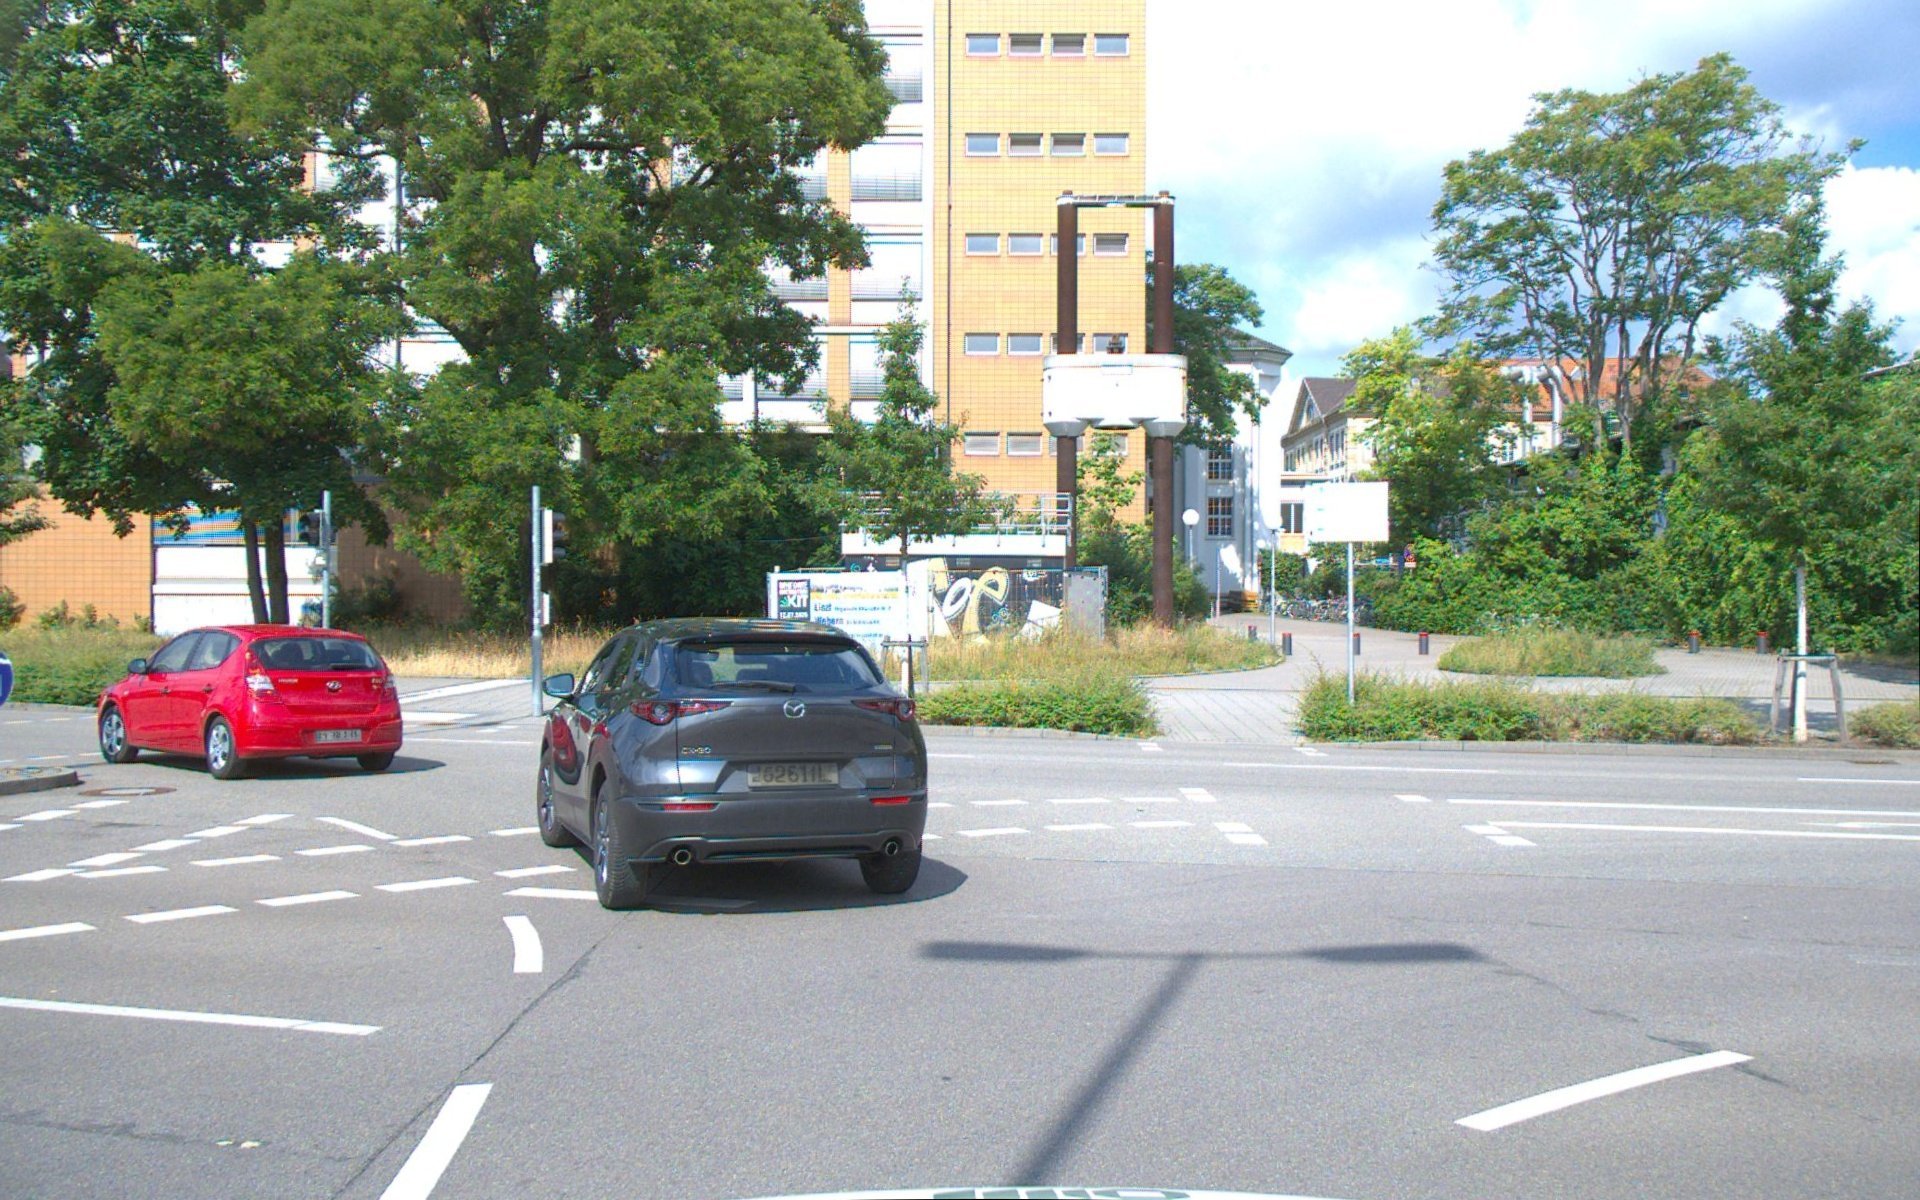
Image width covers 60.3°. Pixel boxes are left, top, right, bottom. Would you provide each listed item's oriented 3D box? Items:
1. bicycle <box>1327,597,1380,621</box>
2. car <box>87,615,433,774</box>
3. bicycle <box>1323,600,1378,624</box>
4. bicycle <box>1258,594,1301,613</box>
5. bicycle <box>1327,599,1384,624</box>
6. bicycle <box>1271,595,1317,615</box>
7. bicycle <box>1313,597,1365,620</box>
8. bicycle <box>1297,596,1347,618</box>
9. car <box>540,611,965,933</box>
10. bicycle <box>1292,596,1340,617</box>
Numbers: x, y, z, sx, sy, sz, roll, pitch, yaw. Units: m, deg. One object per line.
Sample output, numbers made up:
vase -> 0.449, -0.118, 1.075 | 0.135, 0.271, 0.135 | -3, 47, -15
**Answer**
bicycle -> 16.221, 0.367, 68.184 | 2.012, 0.953, 0.804 | 0, 0, 1
car -> -7.385, 0.940, 17.288 | 3.995, 1.465, 1.811 | -1, -3, 42
bicycle -> 15.480, 0.470, 65.568 | 2.012, 0.953, 0.804 | 0, 0, 1
bicycle -> 15.949, 0.187, 82.619 | 2.012, 0.953, 0.804 | 0, 0, 1
bicycle -> 15.284, 0.448, 63.998 | 2.012, 0.953, 0.804 | 0, 0, 1
bicycle -> 15.675, 0.235, 77.765 | 2.012, 0.953, 0.804 | 0, 0, 1
bicycle -> 15.942, 0.342, 69.532 | 2.012, 0.953, 0.804 | 0, 0, 1
bicycle -> 15.979, 0.303, 72.999 | 2.012, 0.953, 0.804 | 0, 0, 1
car -> -1.497, 0.860, 10.214 | 1.779, 1.534, 4.181 | 0, -1, -19
bicycle -> 15.930, 0.288, 74.013 | 2.012, 0.953, 0.804 | 0, 0, 1
